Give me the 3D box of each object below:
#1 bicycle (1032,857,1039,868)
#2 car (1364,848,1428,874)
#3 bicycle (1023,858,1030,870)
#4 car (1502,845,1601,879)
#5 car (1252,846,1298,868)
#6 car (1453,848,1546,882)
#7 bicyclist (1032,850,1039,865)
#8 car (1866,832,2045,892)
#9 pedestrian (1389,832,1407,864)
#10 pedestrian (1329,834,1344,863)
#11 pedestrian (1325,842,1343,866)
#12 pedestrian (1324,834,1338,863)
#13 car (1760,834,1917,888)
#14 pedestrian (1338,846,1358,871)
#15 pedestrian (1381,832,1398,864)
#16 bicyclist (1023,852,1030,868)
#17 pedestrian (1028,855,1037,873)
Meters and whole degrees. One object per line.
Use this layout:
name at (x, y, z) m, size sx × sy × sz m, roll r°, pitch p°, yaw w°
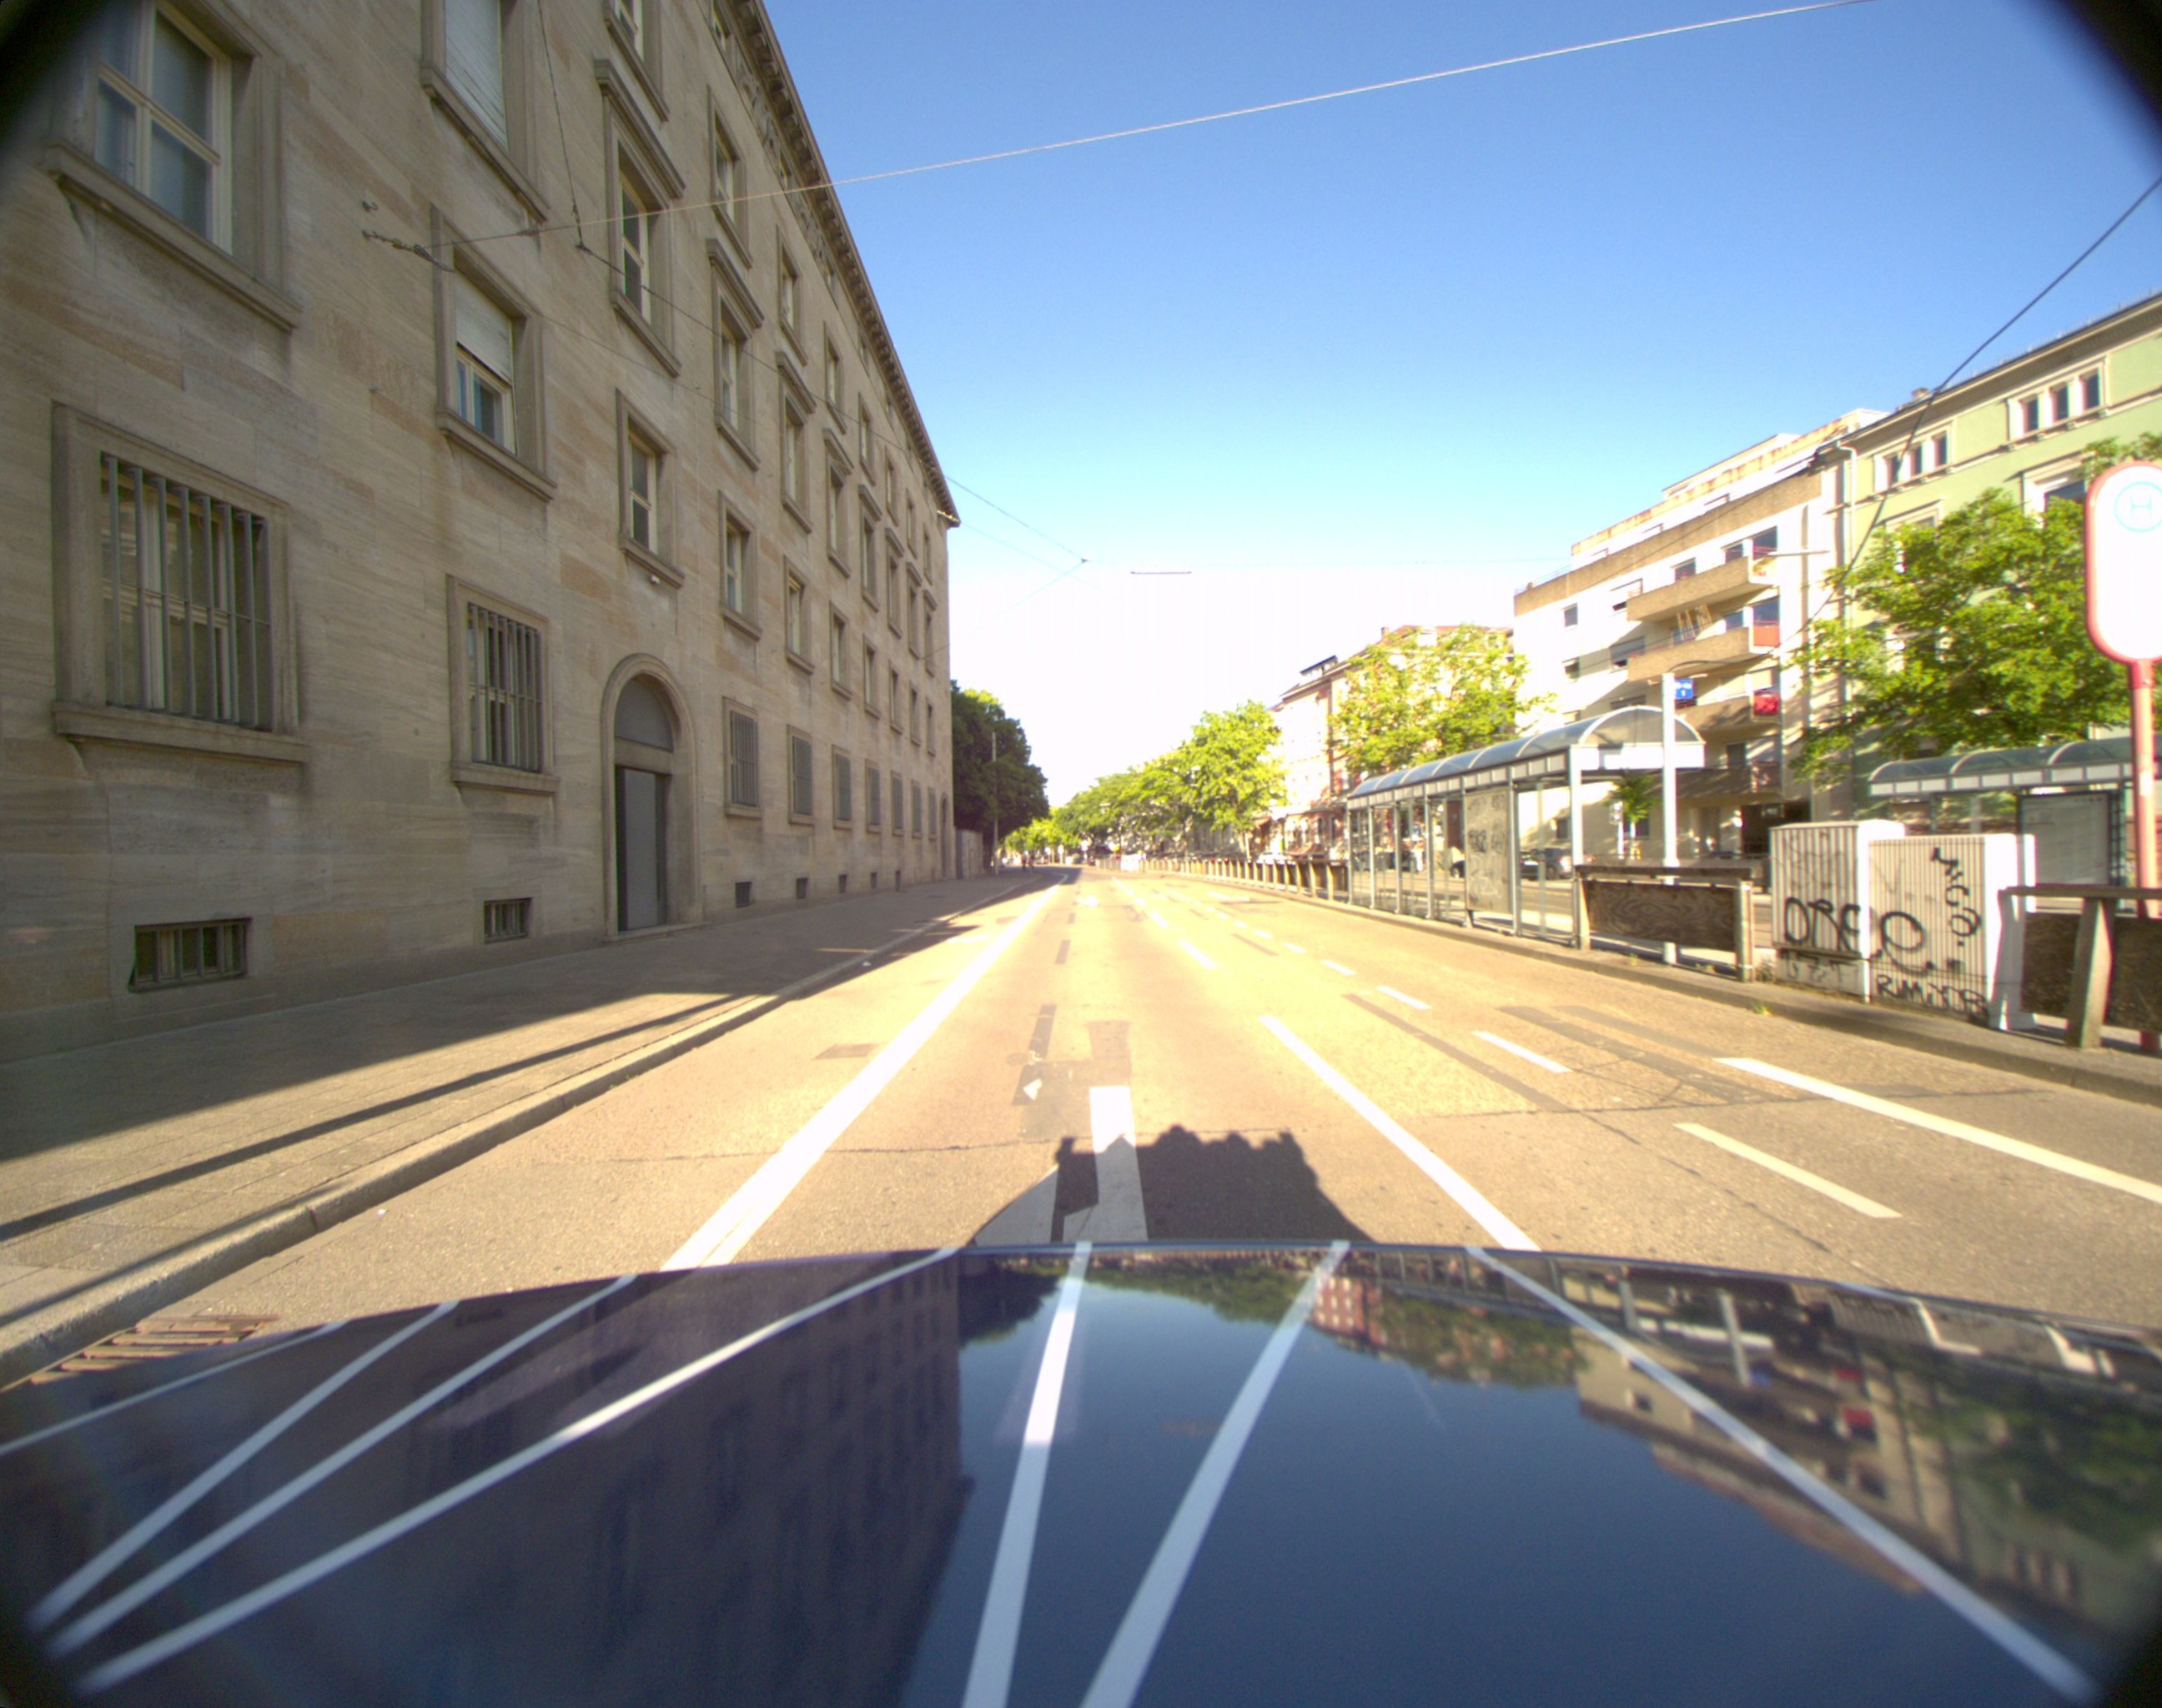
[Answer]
bicycle at (-5.119, 0.938, 85.399) m, size 0.625 × 1.167 × 1.566 m, roll 0°, pitch 0°, yaw 1°
car at (18.490, 0.392, 44.733) m, size 1.609 × 1.388 × 3.996 m, roll -1°, pitch 0°, yaw -9°
bicycle at (-6.115, 1.121, 85.647) m, size 0.625 × 1.214 × 1.659 m, roll -3°, pitch 1°, yaw 1°
car at (20.916, 0.319, 33.976) m, size 1.654 × 1.419 × 3.737 m, roll -1°, pitch 0°, yaw -11°
car at (16.296, 0.225, 63.595) m, size 4.134 × 1.698 × 1.848 m, roll -1°, pitch 1°, yaw -45°
car at (18.162, 0.461, 33.143) m, size 1.670 × 1.400 × 3.877 m, roll 0°, pitch 0°, yaw -5°
bicyclist at (-5.117, 0.391, 85.467) m, size 0.728 × 1.570 × 0.775 m, roll 0°, pitch 1°, yaw 1°
car at (24.930, 0.199, 21.693) m, size 4.002 × 1.573 × 1.761 m, roll -1°, pitch 0°, yaw -14°
pedestrian at (21.456, -0.412, 51.474) m, size 0.813 × 2.194 × 0.756 m, roll -1°, pitch 1°, yaw -10°
pedestrian at (19.446, -0.405, 57.774) m, size 0.813 × 2.194 × 0.756 m, roll -1°, pitch 1°, yaw -10°
pedestrian at (18.442, -0.006, 55.376) m, size 0.855 × 1.710 × 1.019 m, roll -1°, pitch 1°, yaw -9°
pedestrian at (19.496, -0.424, 59.297) m, size 0.812 × 2.194 × 0.756 m, roll -1°, pitch 1°, yaw -4°
car at (24.131, 0.202, 24.233) m, size 4.002 × 1.573 × 1.761 m, roll -1°, pitch 0°, yaw -14°
pedestrian at (17.474, 0.300, 49.789) m, size 0.870 × 1.619 × 0.889 m, roll -2°, pitch 1°, yaw -42°
pedestrian at (21.286, -0.415, 52.383) m, size 0.813 × 2.194 × 0.756 m, roll -1°, pitch 1°, yaw -10°
bicyclist at (-6.135, 0.686, 85.573) m, size 0.625 × 1.729 × 0.688 m, roll -3°, pitch 1°, yaw 1°
pedestrian at (-3.732, 0.781, 58.865) m, size 0.548 × 1.327 × 0.587 m, roll -1°, pitch 1°, yaw 7°
